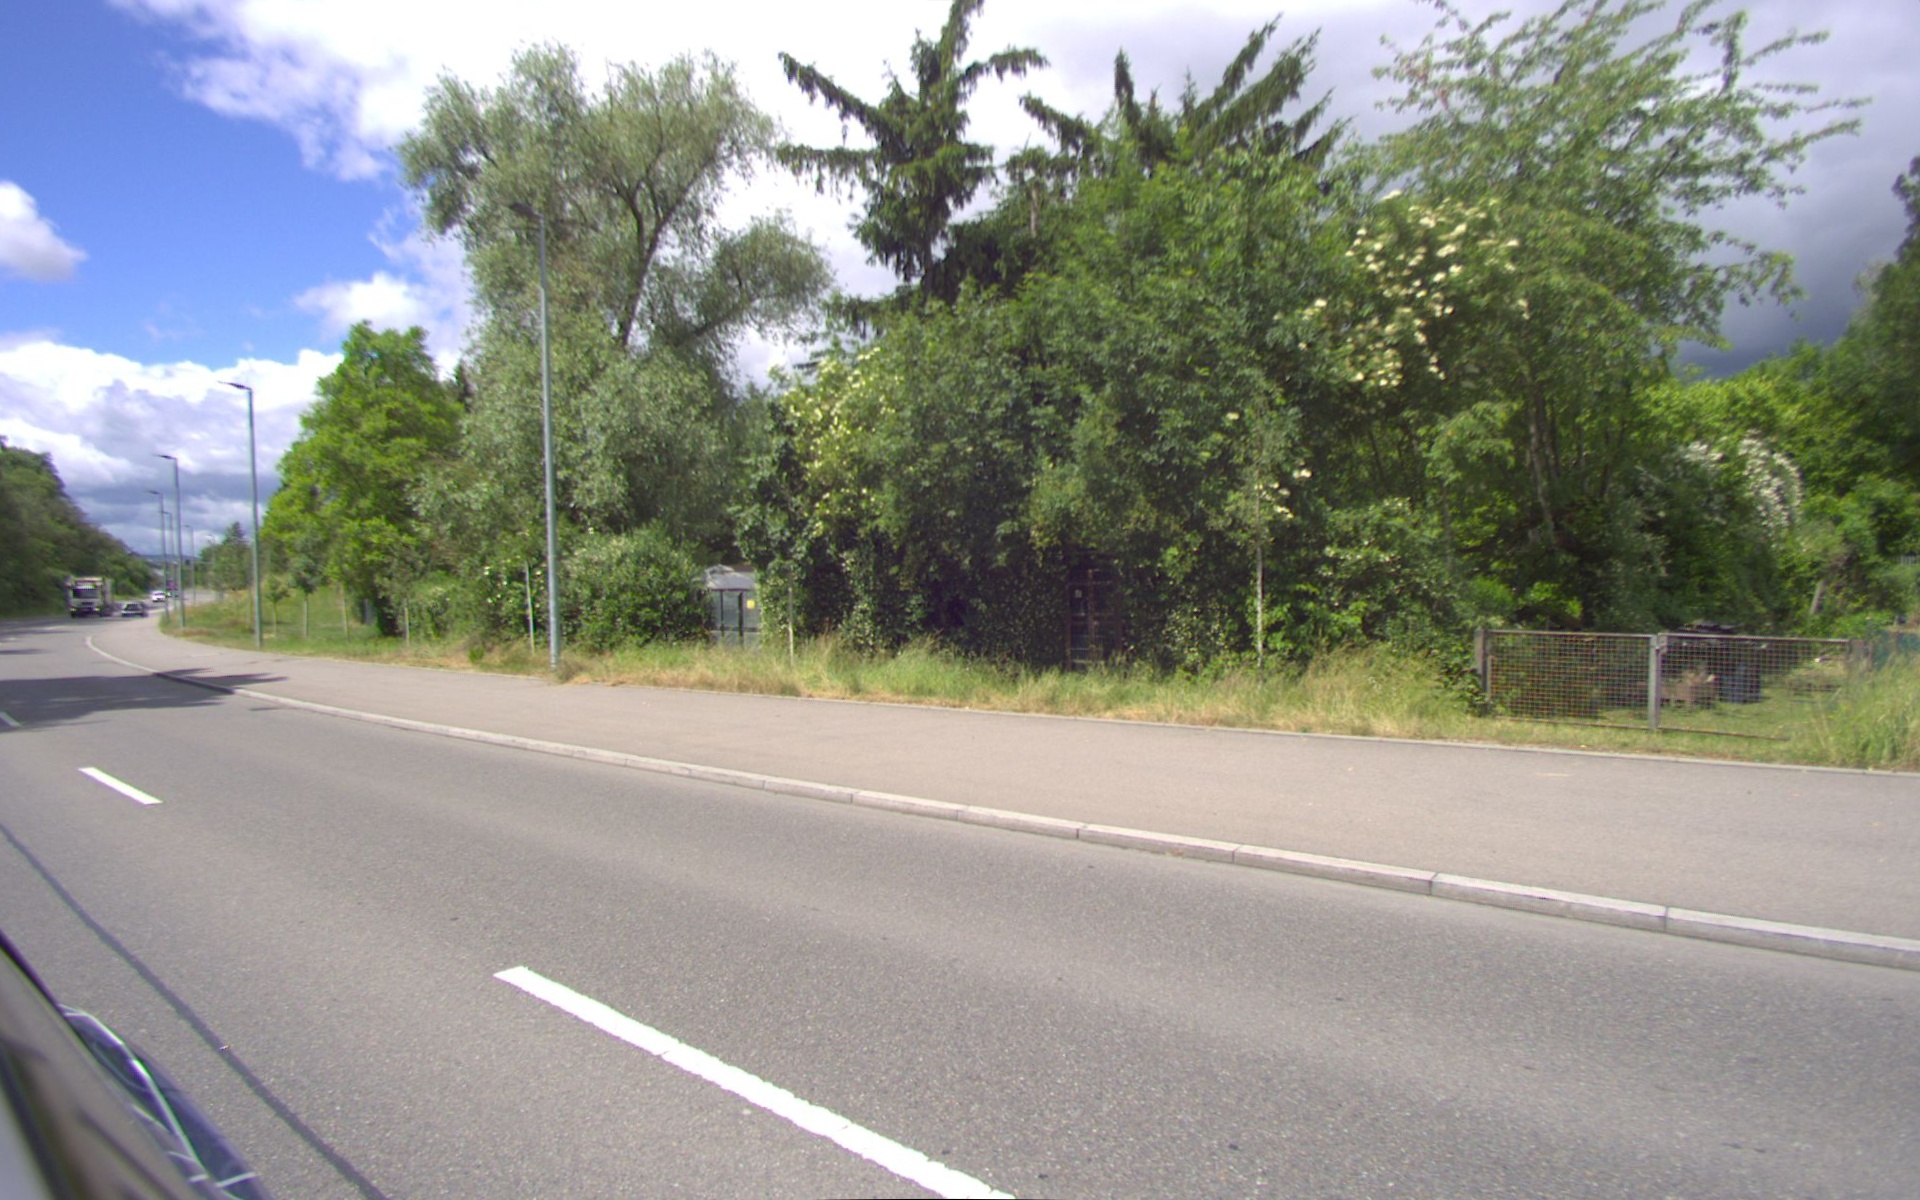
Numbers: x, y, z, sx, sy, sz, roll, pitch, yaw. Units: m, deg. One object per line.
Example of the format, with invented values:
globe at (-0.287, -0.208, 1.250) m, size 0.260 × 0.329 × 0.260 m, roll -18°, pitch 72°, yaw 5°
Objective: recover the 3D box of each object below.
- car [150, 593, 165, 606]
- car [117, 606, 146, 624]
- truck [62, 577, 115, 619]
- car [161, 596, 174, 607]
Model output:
car at (-135.103, -0.075, 170.387) m, size 1.968 × 2.241 × 4.009 m, roll -1°, pitch 0°, yaw -37°
car at (-79.086, 1.400, 96.658) m, size 1.774 × 1.674 × 4.011 m, roll 0°, pitch 0°, yaw -34°
truck at (-84.701, -0.196, 98.515) m, size 3.190 × 3.889 × 9.896 m, roll 0°, pitch 0°, yaw -37°
car at (-160.499, 0.273, 204.996) m, size 1.968 × 2.029 × 4.008 m, roll -1°, pitch 0°, yaw -37°
